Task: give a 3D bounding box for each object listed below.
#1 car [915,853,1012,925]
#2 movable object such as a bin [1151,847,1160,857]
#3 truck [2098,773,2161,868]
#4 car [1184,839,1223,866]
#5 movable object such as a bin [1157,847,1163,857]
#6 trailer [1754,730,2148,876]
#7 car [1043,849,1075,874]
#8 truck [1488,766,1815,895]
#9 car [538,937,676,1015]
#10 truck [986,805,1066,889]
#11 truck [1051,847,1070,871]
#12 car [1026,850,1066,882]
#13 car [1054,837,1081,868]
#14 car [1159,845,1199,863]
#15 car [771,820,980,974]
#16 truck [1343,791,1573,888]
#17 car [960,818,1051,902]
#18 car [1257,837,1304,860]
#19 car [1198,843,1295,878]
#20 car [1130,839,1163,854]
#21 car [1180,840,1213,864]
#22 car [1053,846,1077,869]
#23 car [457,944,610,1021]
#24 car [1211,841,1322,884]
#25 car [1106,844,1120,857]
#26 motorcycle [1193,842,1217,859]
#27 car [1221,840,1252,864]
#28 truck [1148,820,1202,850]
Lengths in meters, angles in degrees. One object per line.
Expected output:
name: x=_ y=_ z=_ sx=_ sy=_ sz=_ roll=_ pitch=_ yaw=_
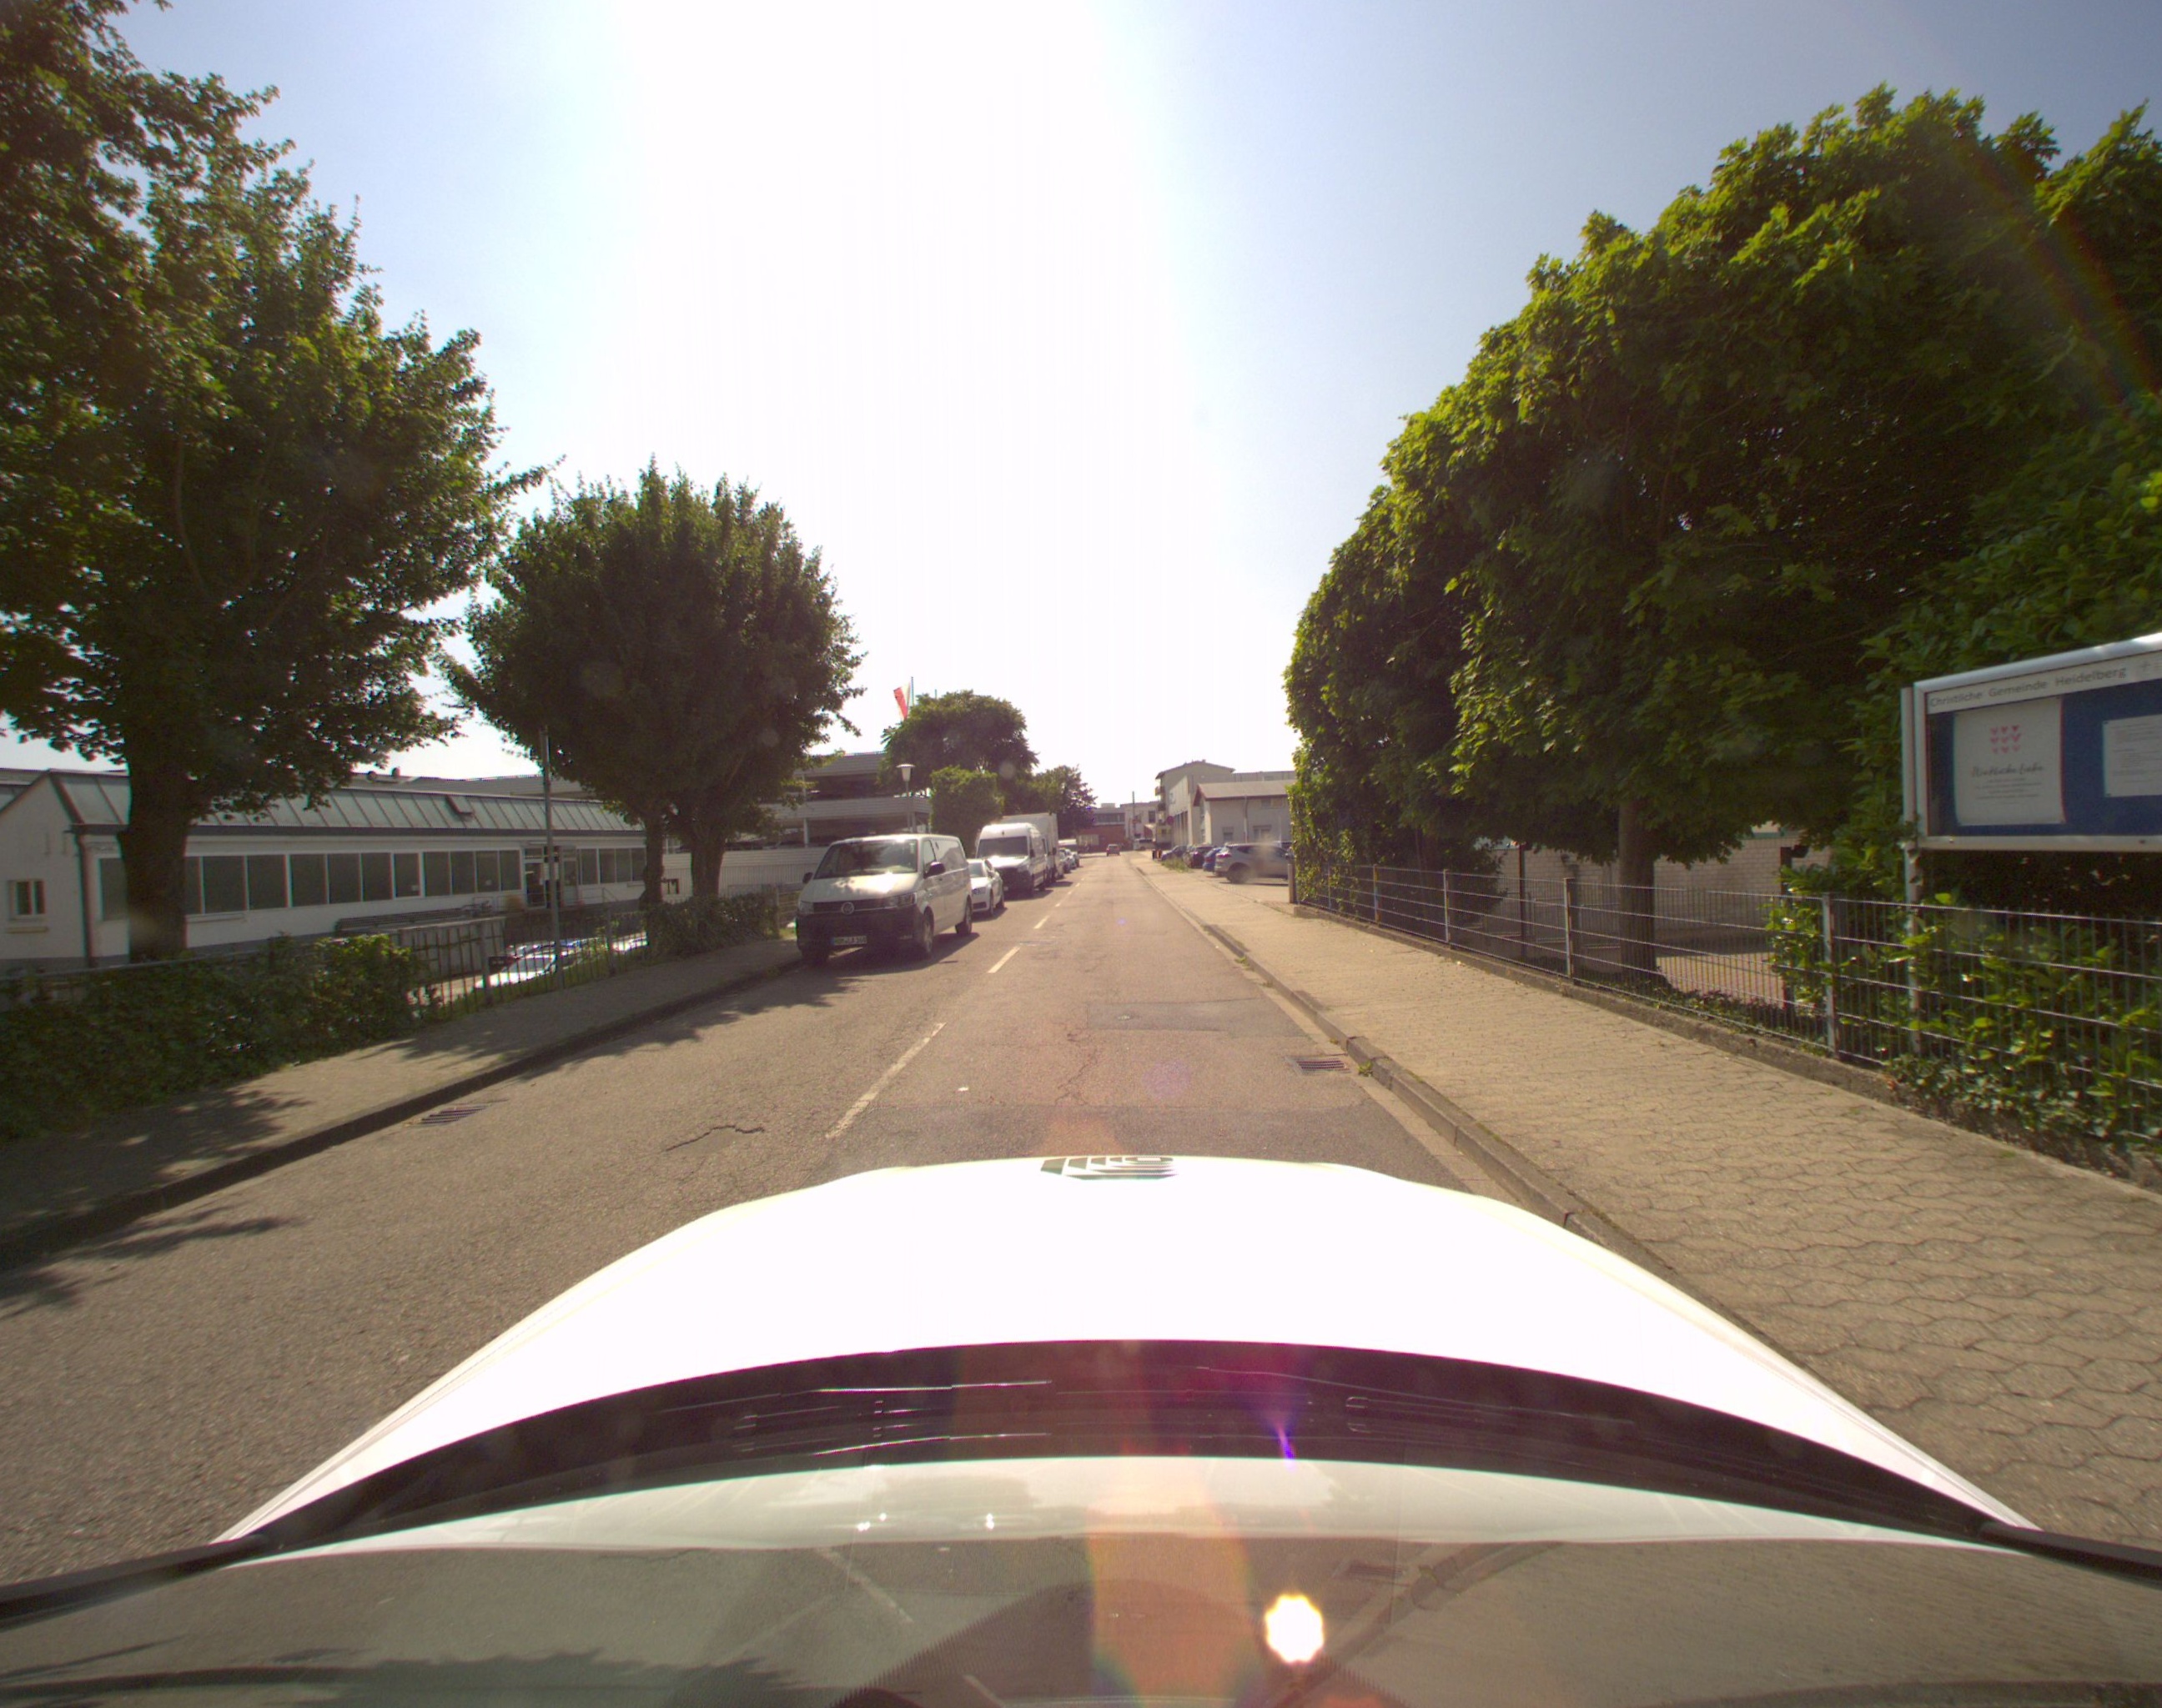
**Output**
car: x=-2.914 y=0.824 z=21.128 sx=1.708 sy=1.543 sz=4.401 roll=-4 pitch=0 yaw=1
movable object such as a bin: x=7.110 y=-0.163 z=77.956 sx=0.562 sy=0.946 sz=0.561 roll=-3 pitch=1 yaw=35
truck: x=41.308 y=-1.333 z=29.180 sx=5.655 sy=3.362 sz=2.931 roll=-3 pitch=0 yaw=5
car: x=7.866 y=-0.118 z=52.873 sx=1.851 sy=1.567 sz=4.953 roll=-3 pitch=1 yaw=2
movable object such as a bin: x=7.619 y=-0.164 z=78.353 sx=0.510 sy=0.946 sz=0.489 roll=-3 pitch=1 yaw=13
trailer: x=26.669 y=-1.453 z=25.426 sx=8.289 sy=3.863 sz=3.074 roll=-3 pitch=0 yaw=7
car: x=-1.425 y=0.500 z=54.268 sx=1.698 sy=1.463 sz=4.117 roll=-4 pitch=0 yaw=3
truck: x=18.094 y=-0.716 z=26.325 sx=8.237 sy=3.611 sz=2.957 roll=-2 pitch=0 yaw=4
car: x=-15.491 y=3.931 z=26.923 sx=1.854 sy=1.930 sz=4.357 roll=-1 pitch=-1 yaw=2
truck: x=-2.389 y=-0.291 z=37.686 sx=2.674 sy=3.366 sz=7.135 roll=-3 pitch=0 yaw=3
truck: x=-1.493 y=0.338 z=60.056 sx=1.135 sy=1.622 sz=3.141 roll=-5 pitch=1 yaw=0
car: x=-1.863 y=0.607 z=44.397 sx=1.735 sy=1.521 sz=4.312 roll=-3 pitch=1 yaw=2
car: x=-1.114 y=-0.185 z=68.837 sx=1.999 sy=2.366 sz=5.230 roll=-5 pitch=1 yaw=0
car: x=8.431 y=-0.025 z=70.314 sx=3.240 sy=1.398 sz=1.674 roll=-3 pitch=1 yaw=2
car: x=-3.200 y=0.601 z=13.956 sx=1.964 sy=2.013 sz=5.059 roll=-4 pitch=0 yaw=2
truck: x=14.019 y=-0.535 z=30.718 sx=7.489 sy=3.423 sz=2.528 roll=1 pitch=0 yaw=2
car: x=-2.579 y=0.195 z=29.943 sx=2.159 sy=2.595 sz=6.926 roll=-4 pitch=0 yaw=3
car: x=14.164 y=-0.388 z=58.103 sx=1.759 sy=1.496 sz=4.137 roll=-4 pitch=0 yaw=-9
car: x=8.009 y=0.292 z=39.670 sx=4.337 sy=1.441 sz=1.893 roll=-3 pitch=0 yaw=1
car: x=10.425 y=-1.158 z=129.738 sx=4.666 sy=1.957 sz=1.905 roll=-4 pitch=-1 yaw=-17
car: x=8.255 y=-0.144 z=58.424 sx=1.805 sy=1.558 sz=4.294 roll=-3 pitch=1 yaw=2
car: x=-1.273 y=0.279 z=63.663 sx=1.700 sy=1.624 sz=3.970 roll=-4 pitch=0 yaw=-2
car: x=-17.984 y=4.154 z=27.061 sx=1.911 sy=1.851 sz=4.419 roll=-2 pitch=-1 yaw=2
car: x=7.598 y=0.317 z=33.619 sx=4.186 sy=1.682 sz=1.767 roll=1 pitch=0 yaw=1
car: x=4.451 y=-0.446 z=112.565 sx=1.883 sy=1.685 sz=3.959 roll=1 pitch=0 yaw=2
motorcycle: x=10.511 y=-0.268 z=68.966 sx=1.863 sy=1.279 sz=0.796 roll=-4 pitch=0 yaw=-1
car: x=10.580 y=-0.156 z=55.754 sx=1.751 sy=1.595 sz=3.625 roll=1 pitch=1 yaw=5
truck: x=13.965 y=-2.844 z=121.389 sx=7.345 sy=3.645 sz=2.764 roll=-6 pitch=1 yaw=-4
